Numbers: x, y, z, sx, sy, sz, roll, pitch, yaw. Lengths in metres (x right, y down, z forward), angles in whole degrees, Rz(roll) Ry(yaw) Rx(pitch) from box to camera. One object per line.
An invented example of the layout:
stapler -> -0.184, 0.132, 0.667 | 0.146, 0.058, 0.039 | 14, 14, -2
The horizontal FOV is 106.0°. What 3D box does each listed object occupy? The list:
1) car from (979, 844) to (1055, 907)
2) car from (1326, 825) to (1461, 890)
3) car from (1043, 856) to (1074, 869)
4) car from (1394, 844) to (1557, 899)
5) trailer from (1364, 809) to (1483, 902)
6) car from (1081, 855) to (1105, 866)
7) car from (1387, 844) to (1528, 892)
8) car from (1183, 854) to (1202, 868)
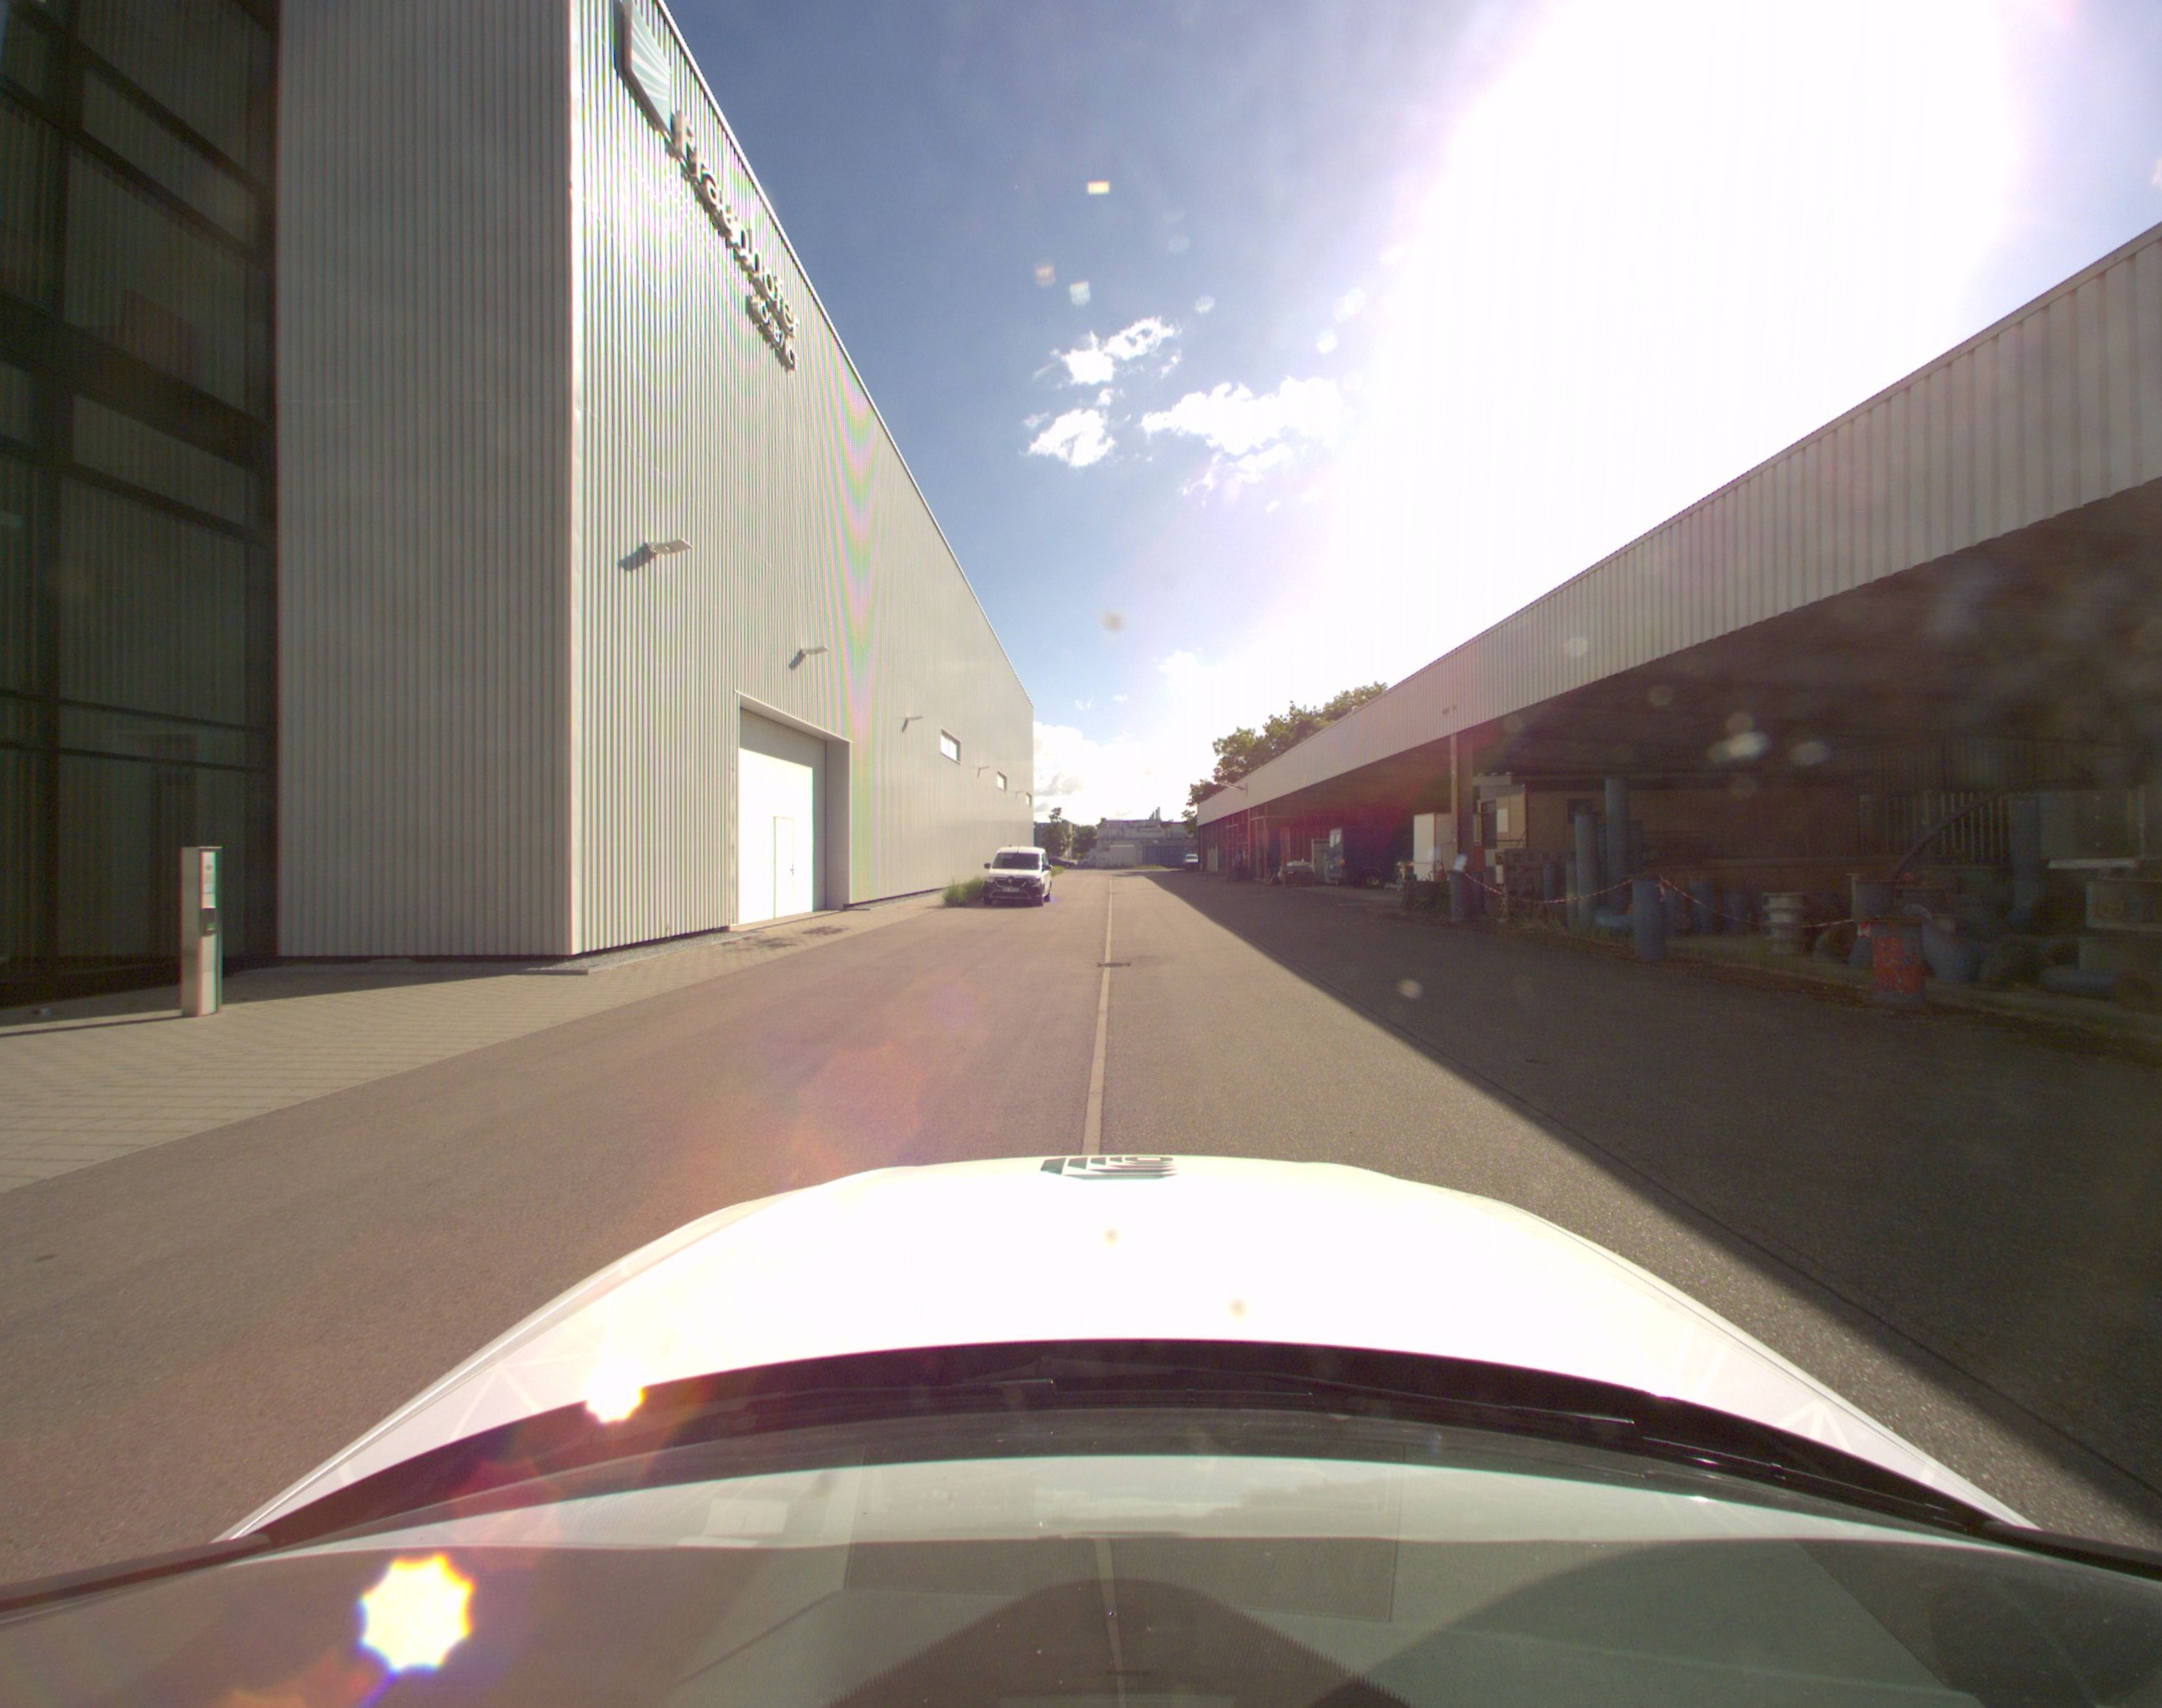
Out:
car -> -1.918, 0.619, 25.748 | 1.811, 1.787, 4.408 | 1, 0, 3
car -> 11.689, 0.164, 30.699 | 4.414, 2.310, 1.916 | 1, -2, 3
car -> -2.955, 1.109, 108.065 | 3.973, 1.598, 1.741 | 1, -2, 1
car -> 11.619, 0.529, 24.172 | 4.021, 1.525, 1.685 | 1, -2, 3
trailer -> 9.174, 0.058, 21.977 | 2.513, 2.399, 1.728 | -1, -1, 3
car -> 1.957, 1.080, 135.833 | 3.973, 1.598, 1.848 | 1, -2, 1
car -> 12.675, 0.476, 27.569 | 4.021, 1.525, 1.685 | 1, -2, 3
car -> 12.986, 0.832, 95.189 | 1.953, 1.564, 4.063 | 1, 0, 4
